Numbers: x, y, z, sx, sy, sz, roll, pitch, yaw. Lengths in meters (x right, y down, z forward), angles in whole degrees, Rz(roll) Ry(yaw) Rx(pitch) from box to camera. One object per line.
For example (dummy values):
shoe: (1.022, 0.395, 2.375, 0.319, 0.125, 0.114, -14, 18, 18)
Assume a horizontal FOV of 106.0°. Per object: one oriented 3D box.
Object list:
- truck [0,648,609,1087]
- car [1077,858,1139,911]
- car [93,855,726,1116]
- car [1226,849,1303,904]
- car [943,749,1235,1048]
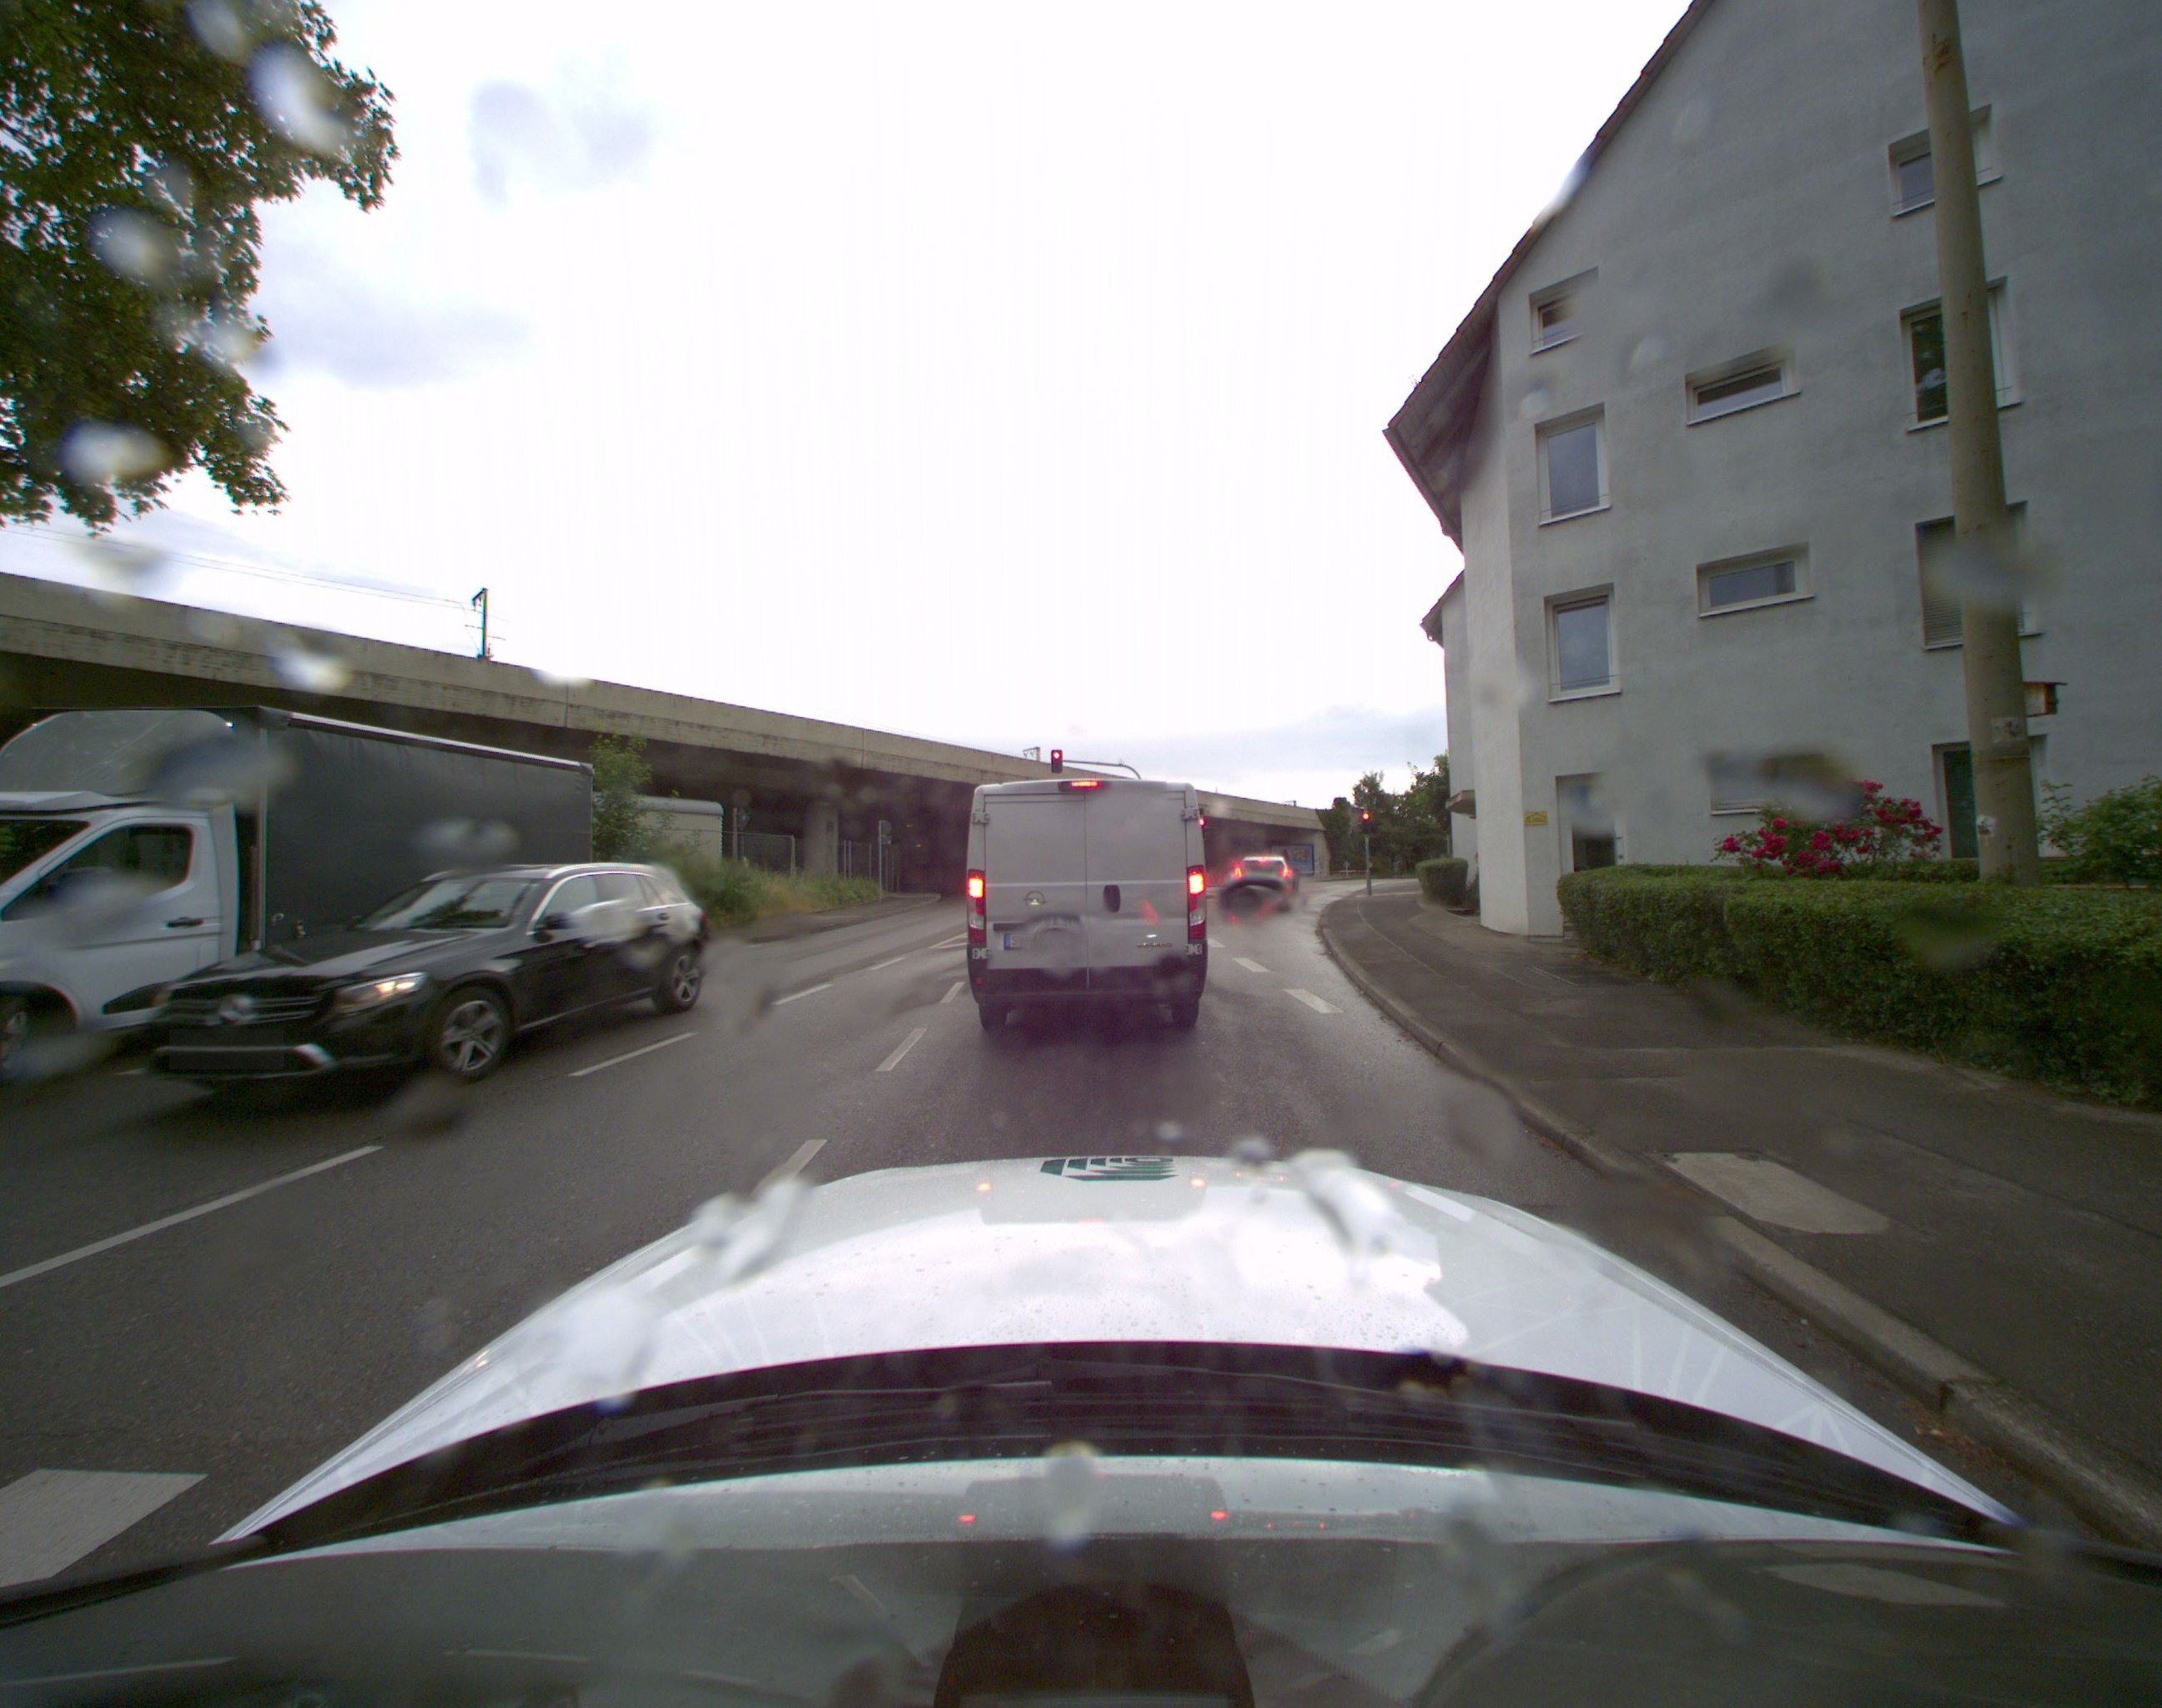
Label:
truck: (-9.077, 0.176, 9.171, 2.599, 3.237, 7.782, -1, -1, 3)
car: (1.036, 1.072, 28.939, 1.984, 1.729, 4.004, -1, -2, 5)
car: (-5.244, 0.862, 7.387, 1.907, 1.626, 4.437, -1, -1, 3)
car: (5.753, 0.704, 25.222, 1.978, 1.549, 4.017, -1, -2, 17)
car: (0.129, 0.387, 9.232, 2.296, 2.343, 5.283, -2, -1, 1)
